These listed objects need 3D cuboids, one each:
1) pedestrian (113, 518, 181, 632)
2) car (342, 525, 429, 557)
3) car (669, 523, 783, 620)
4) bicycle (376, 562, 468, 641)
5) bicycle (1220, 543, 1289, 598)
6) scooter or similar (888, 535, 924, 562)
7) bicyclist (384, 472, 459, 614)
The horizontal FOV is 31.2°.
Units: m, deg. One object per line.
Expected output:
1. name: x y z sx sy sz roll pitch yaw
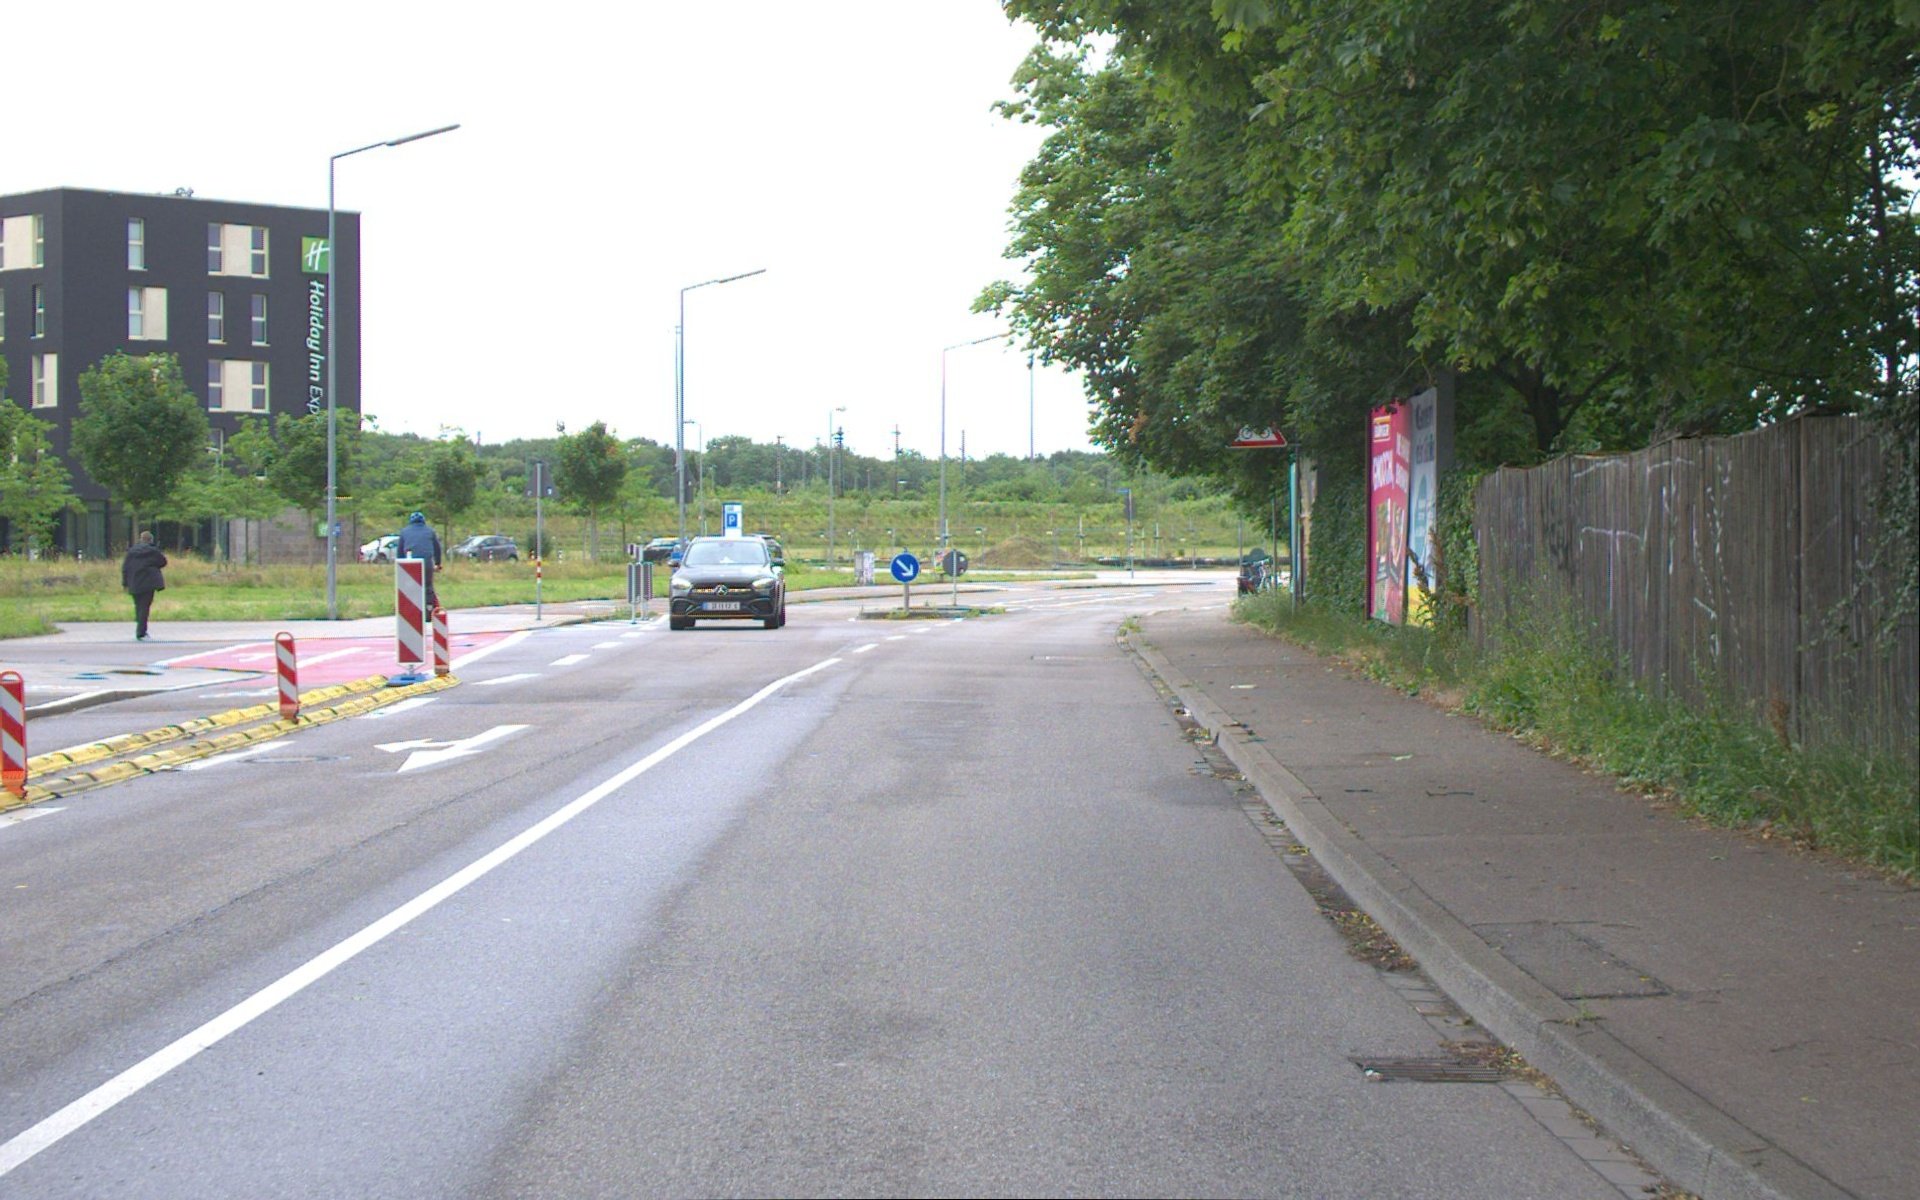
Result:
1. pedestrian: -12.896 -0.400 54.589 0.843 1.776 1.077 0 2 -2
2. car: -28.787 -2.955 172.368 1.998 1.512 4.145 1 2 35
3. car: -4.019 -0.528 59.267 1.880 1.561 4.359 0 2 -4
4. bicycle: -7.702 0.006 49.291 0.884 1.048 2.469 0 2 1
5. bicycle: 6.074 -0.623 70.868 0.796 1.107 1.949 1 1 25
6. scooter or similar: -2.358 -2.239 149.587 1.464 1.164 0.571 2 1 18
7. bicyclist: -7.707 -0.824 49.228 0.861 2.006 1.177 0 2 1
